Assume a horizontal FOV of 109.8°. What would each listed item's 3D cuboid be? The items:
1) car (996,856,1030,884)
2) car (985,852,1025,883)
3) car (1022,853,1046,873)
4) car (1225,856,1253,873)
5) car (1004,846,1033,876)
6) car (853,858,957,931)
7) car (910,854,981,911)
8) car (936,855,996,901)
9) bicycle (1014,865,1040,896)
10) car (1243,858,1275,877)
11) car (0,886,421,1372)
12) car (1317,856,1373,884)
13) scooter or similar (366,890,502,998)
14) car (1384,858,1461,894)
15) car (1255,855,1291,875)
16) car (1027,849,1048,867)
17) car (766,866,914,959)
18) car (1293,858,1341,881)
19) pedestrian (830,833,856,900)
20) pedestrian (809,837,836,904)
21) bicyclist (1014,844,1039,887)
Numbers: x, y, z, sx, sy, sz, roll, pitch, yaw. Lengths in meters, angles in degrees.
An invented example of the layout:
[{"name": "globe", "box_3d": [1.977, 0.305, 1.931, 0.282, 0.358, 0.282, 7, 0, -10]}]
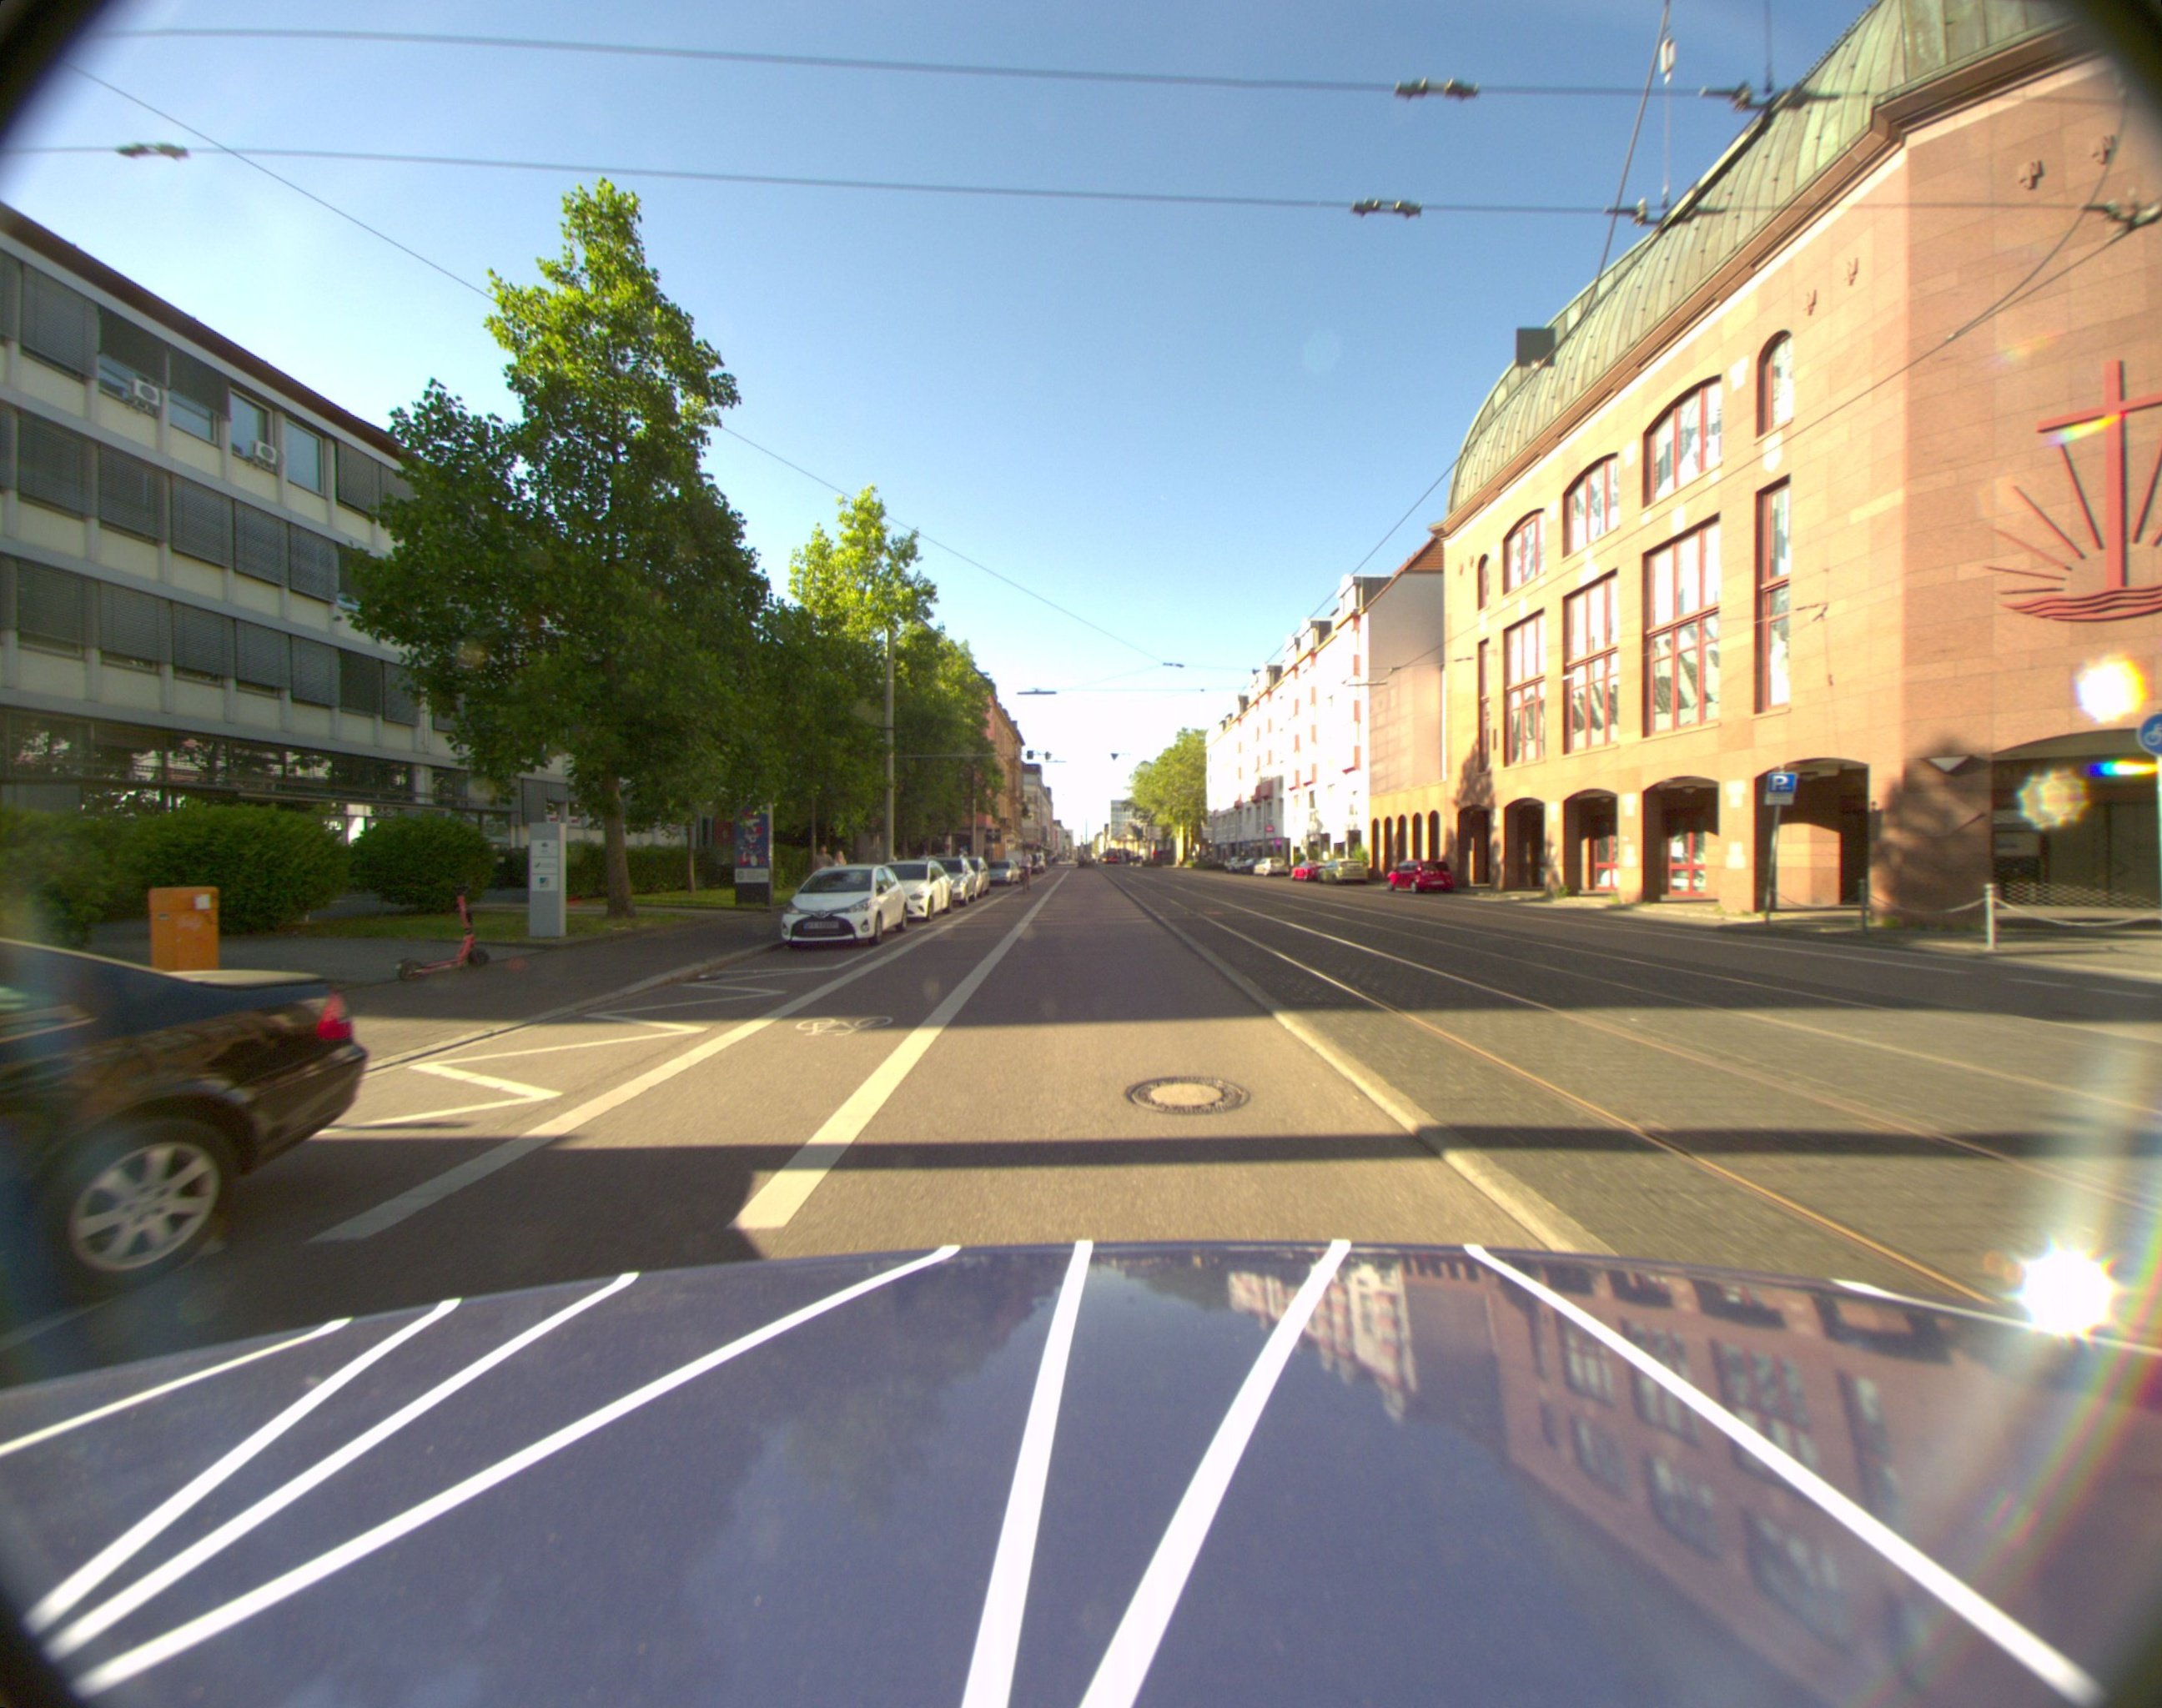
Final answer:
[{"name": "car", "box_3d": [-4.264, 0.991, 48.122, 1.733, 1.475, 4.114, -2, 2, 0]}, {"name": "car", "box_3d": [-4.204, 0.729, 42.462, 1.733, 1.475, 4.114, -2, 2, 0]}, {"name": "car", "box_3d": [-4.087, 0.729, 66.367, 1.733, 1.475, 4.252, -2, 2, 0]}, {"name": "car", "box_3d": [14.921, 0.970, 71.963, 1.856, 1.445, 3.853, -1, 0, 1]}, {"name": "car", "box_3d": [-4.595, 0.488, 56.534, 1.733, 2.038, 4.114, -2, 2, 0]}, {"name": "car", "box_3d": [-4.545, 0.972, 20.198, 1.733, 1.568, 4.114, -2, 1, 0]}, {"name": "car", "box_3d": [-4.491, 0.892, 25.760, 1.733, 1.586, 4.113, -2, 2, -2]}, {"name": "car", "box_3d": [-4.561, 0.896, 30.705, 1.733, 1.542, 4.114, -2, 2, 0]}, {"name": "bicycle", "box_3d": [-2.299, 1.100, 32.323, 0.889, 1.155, 2.078, -2, 2, 1]}, {"name": "car", "box_3d": [15.054, 1.109, 64.432, 1.856, 1.445, 3.853, -1, 0, 1]}, {"name": "car", "box_3d": [-4.429, 1.019, 1.571, 1.733, 1.475, 4.927, -2, 2, 0]}, {"name": "car", "box_3d": [14.965, 0.901, 43.289, 1.856, 1.445, 3.853, -1, 0, 1]}, {"name": "scooter or similar", "box_3d": [-8.354, 1.121, 9.876, 0.582, 1.203, 1.313, 3, 1, 2]}, {"name": "car", "box_3d": [15.032, 0.939, 33.629, 1.753, 1.445, 3.470, -1, 0, -1]}, {"name": "car", "box_3d": [14.996, 0.876, 59.592, 1.856, 1.445, 3.853, -1, 0, 1]}, {"name": "car", "box_3d": [-4.097, 0.345, 72.520, 1.733, 1.475, 4.114, -2, 2, 0]}, {"name": "car", "box_3d": [-4.617, 1.042, 15.139, 1.733, 1.474, 3.863, -2, 0, -1]}, {"name": "car", "box_3d": [14.915, 0.944, 48.205, 1.856, 1.346, 3.853, -1, 0, 1]}, {"name": "pedestrian", "box_3d": [-7.248, 0.371, 23.149, 0.508, 2.002, 0.574, -2, 2, 1]}, {"name": "pedestrian", "box_3d": [-7.869, 0.485, 23.143, 0.508, 2.002, 0.574, -2, 2, 1]}, {"name": "bicyclist", "box_3d": [-2.317, 0.472, 32.286, 0.895, 1.755, 1.030, -2, 2, 1]}]
